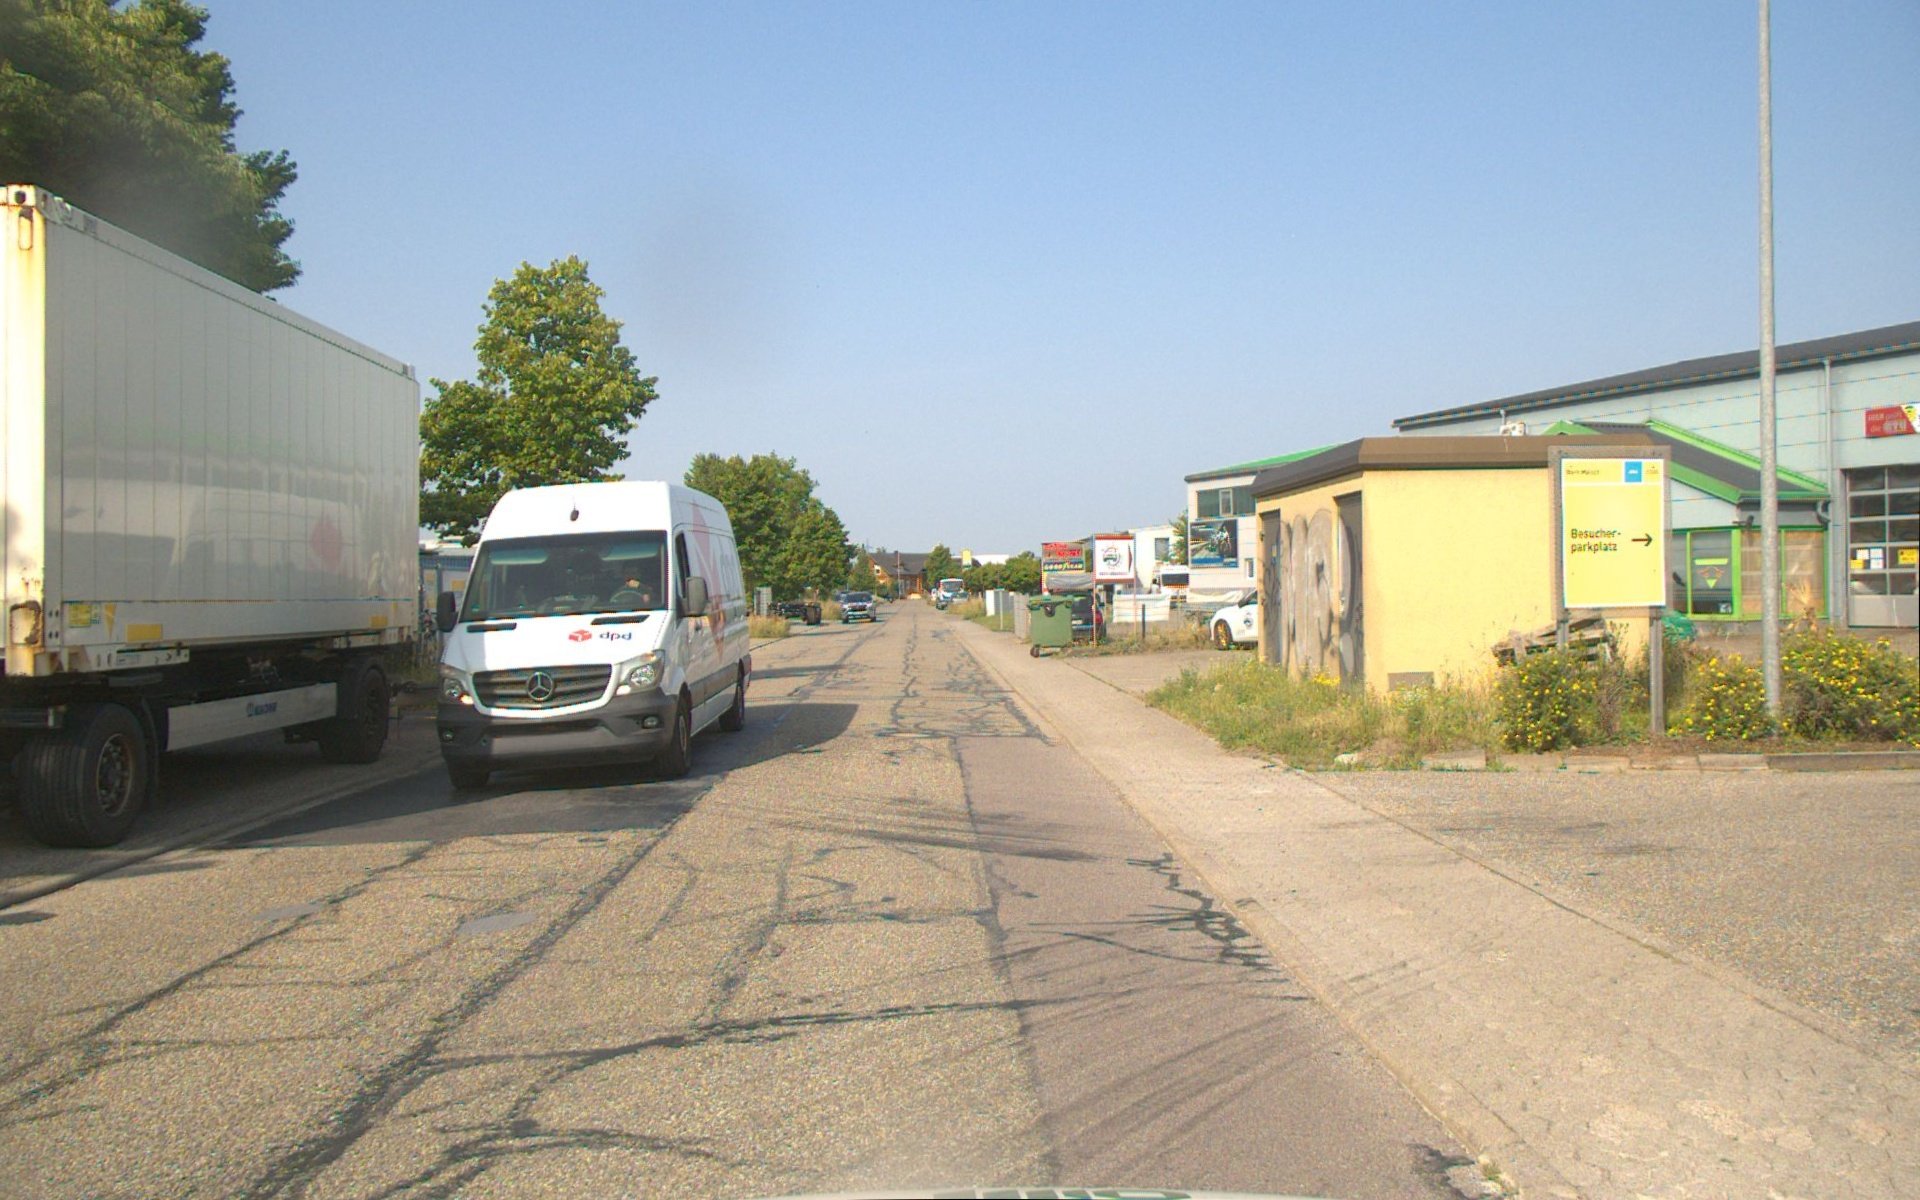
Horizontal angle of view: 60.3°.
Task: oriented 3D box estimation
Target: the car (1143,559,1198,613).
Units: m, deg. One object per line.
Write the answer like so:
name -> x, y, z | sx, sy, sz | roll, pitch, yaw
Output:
car -> 11.302, -0.751, 89.275 | 1.934, 2.753, 5.878 | -2, 0, -2

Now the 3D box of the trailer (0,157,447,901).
trailer -> -6.524, -0.398, 12.293 | 2.645, 3.952, 9.762 | 0, 0, -2

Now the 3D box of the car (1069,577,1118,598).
car -> 11.241, -1.034, 139.300 | 1.658, 1.616, 4.504 | -1, 1, 43

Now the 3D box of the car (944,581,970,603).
car -> -0.243, -0.598, 121.621 | 1.758, 1.544, 4.422 | -2, 1, -2

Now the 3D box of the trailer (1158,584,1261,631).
trailer -> 7.057, 0.195, 46.914 | 1.473, 1.270, 2.951 | 0, 0, -27

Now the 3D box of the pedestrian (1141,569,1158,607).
pedestrian -> 8.393, -0.519, 73.242 | 0.687, 1.668, 0.749 | -2, 0, 6

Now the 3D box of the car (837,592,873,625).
car -> -5.641, 0.449, 89.373 | 1.775, 1.655, 4.247 | -2, 1, -2

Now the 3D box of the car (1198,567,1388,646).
car -> 6.821, 0.122, 34.309 | 1.666, 1.491, 4.227 | -2, 0, -25

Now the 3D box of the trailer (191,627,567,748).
trailer -> -6.773, 0.956, 20.309 | 2.596, 1.002, 6.240 | -2, 1, -2

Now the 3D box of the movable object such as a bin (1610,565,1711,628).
movable object such as a bin -> 16.114, -0.087, 38.093 | 0.983, 1.369, 1.994 | -2, 1, -23

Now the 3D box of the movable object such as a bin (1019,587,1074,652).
movable object such as a bin -> 1.942, 0.423, 37.362 | 1.059, 1.376, 1.505 | -4, 0, -1

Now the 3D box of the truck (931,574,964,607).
truck -> -1.149, -0.841, 145.332 | 2.313, 2.728, 6.504 | -2, 1, -5

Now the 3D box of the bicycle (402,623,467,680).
bicycle -> -10.329, 0.994, 32.573 | 0.551, 0.990, 2.451 | -2, 1, -2

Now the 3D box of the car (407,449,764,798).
car -> -3.290, 0.142, 16.207 | 1.953, 2.591, 6.988 | -2, 1, -1

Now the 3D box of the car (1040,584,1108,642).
car -> 2.954, 0.311, 43.321 | 1.639, 1.392, 4.395 | -2, 1, 3

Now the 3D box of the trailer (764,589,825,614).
trailer -> -8.488, 0.032, 85.656 | 2.530, 1.205, 9.359 | 0, 0, -2
